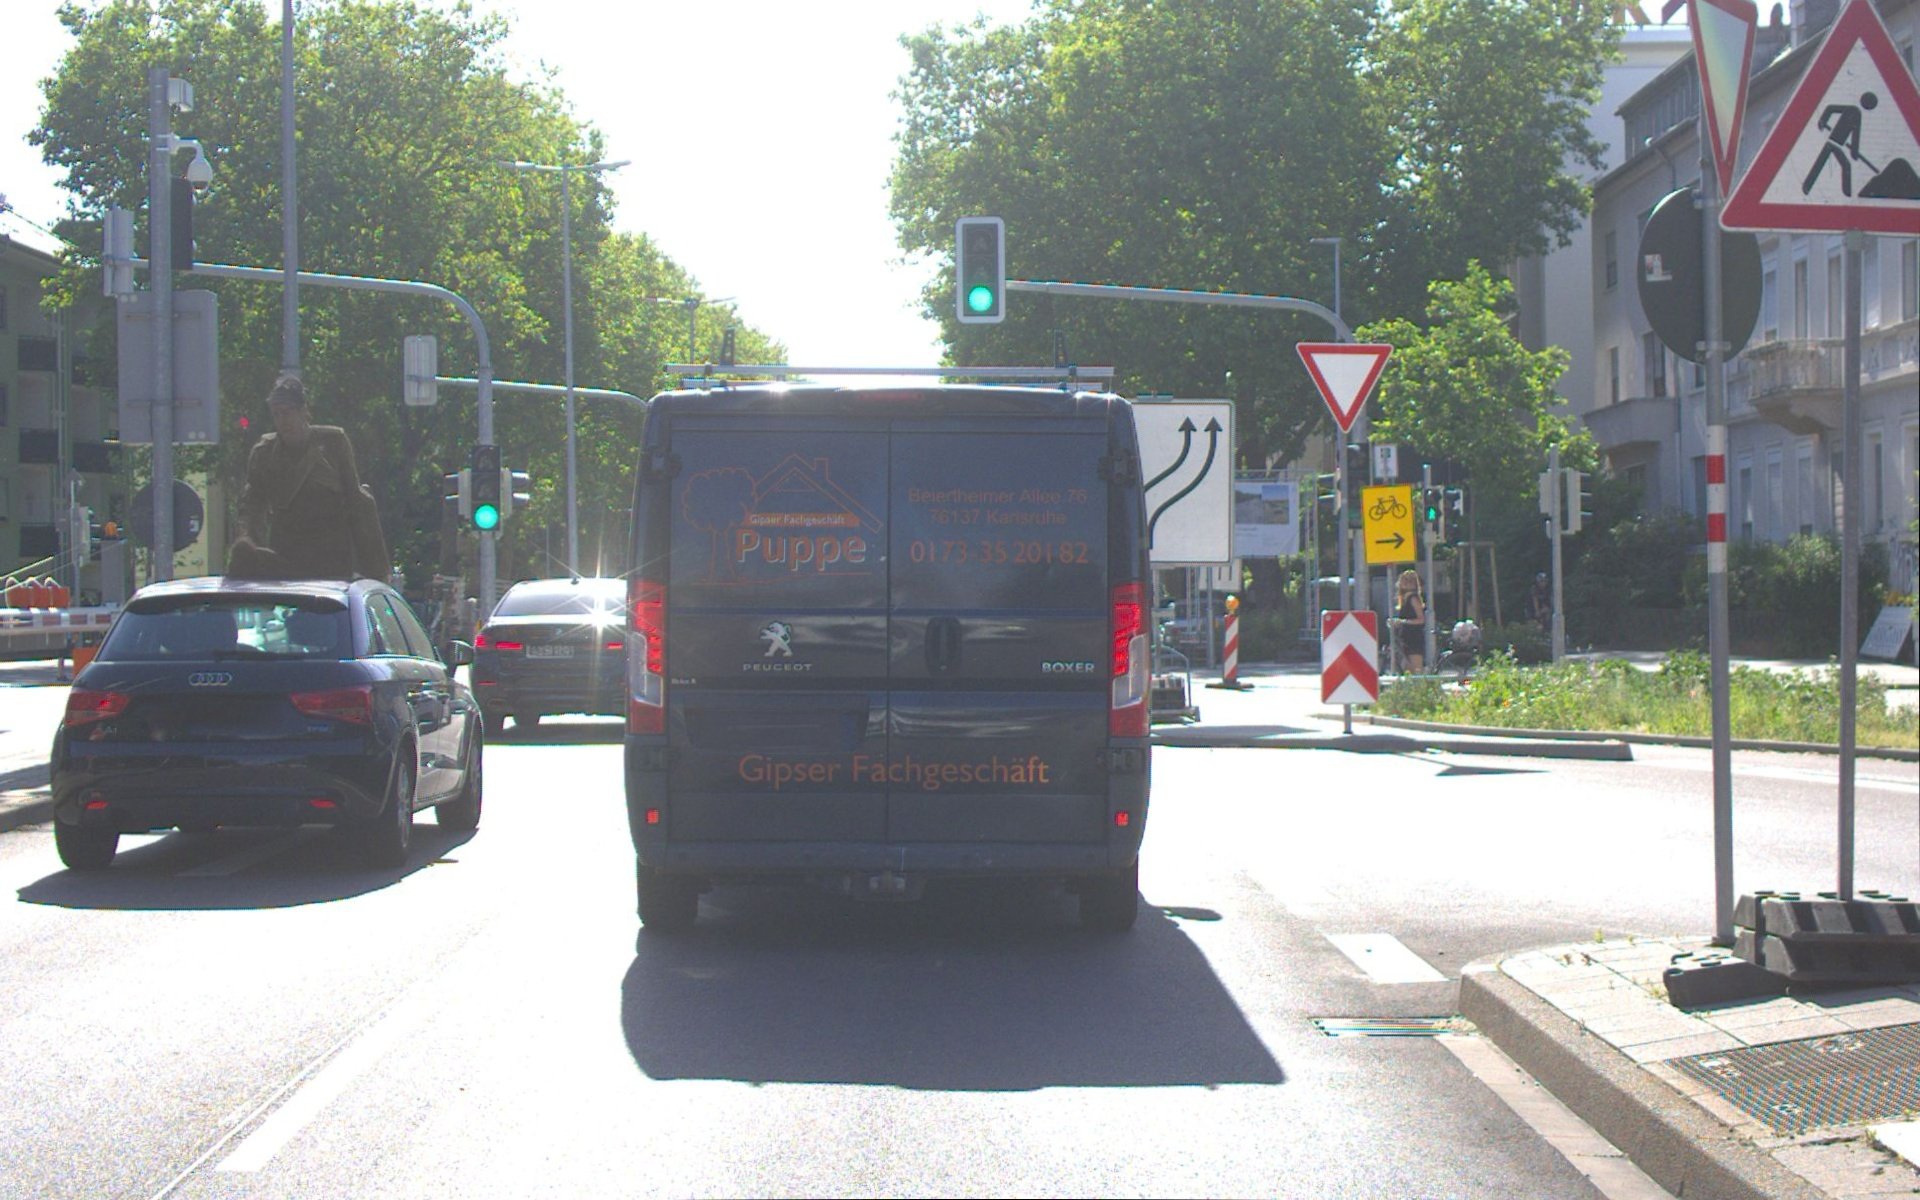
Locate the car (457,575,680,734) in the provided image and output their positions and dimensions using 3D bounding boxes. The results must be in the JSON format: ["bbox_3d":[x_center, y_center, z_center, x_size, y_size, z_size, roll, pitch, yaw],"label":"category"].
[{"bbox_3d":[-3.668,0.495,32.769,1.746,1.402,4.000,1,0,-1],"label":"car"}]

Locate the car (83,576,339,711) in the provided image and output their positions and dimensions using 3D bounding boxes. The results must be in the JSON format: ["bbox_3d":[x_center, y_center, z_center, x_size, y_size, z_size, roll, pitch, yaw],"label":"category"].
[{"bbox_3d":[-9.056,0.486,41.944,1.993,1.448,4.618,-1,1,1],"label":"car"}]

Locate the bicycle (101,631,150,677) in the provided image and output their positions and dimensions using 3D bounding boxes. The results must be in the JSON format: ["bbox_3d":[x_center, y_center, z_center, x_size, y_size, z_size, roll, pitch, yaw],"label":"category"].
[{"bbox_3d":[-19.153,1.240,78.908,0.627,1.033,1.879,0,0,1],"label":"bicycle"}]

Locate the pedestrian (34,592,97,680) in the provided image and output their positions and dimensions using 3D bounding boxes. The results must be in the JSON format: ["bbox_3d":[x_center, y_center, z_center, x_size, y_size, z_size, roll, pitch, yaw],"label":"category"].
[{"bbox_3d":[-17.436,0.701,67.029,0.865,1.705,1.012,0,0,7],"label":"pedestrian"}]

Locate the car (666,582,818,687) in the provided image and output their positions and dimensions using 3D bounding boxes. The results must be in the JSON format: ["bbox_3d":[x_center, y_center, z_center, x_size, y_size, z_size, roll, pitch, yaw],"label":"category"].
[{"bbox_3d":[-3.226,0.485,51.577,1.911,1.439,4.602,1,1,1],"label":"car"}]

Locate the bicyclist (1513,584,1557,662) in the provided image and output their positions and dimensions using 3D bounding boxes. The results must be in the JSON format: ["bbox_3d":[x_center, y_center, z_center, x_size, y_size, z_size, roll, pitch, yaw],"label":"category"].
[{"bbox_3d":[11.159,0.441,66.709,0.724,1.494,0.871,0,0,1],"label":"bicyclist"}]

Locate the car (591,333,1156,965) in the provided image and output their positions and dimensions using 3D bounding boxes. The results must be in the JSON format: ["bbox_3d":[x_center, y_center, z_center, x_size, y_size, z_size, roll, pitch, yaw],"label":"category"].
[{"bbox_3d":[-0.343,0.171,14.817,2.095,2.347,3.933,0,0,-1],"label":"car"}]

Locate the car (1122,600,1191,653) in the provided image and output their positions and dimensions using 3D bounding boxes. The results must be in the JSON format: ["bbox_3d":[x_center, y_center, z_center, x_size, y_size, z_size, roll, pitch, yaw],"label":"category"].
[{"bbox_3d":[5.680,0.762,99.828,1.763,1.503,4.251,0,0,0],"label":"car"}]

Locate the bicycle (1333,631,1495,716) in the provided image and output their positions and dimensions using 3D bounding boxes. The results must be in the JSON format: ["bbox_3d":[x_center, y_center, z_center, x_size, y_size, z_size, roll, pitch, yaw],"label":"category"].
[{"bbox_3d":[5.752,0.928,43.607,1.962,1.022,0.605,1,0,0],"label":"bicycle"}]

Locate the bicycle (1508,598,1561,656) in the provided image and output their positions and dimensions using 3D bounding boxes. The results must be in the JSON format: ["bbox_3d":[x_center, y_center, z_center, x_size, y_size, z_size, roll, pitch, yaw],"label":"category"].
[{"bbox_3d":[11.137,0.517,66.681,0.688,1.094,1.687,0,0,-1],"label":"bicycle"}]

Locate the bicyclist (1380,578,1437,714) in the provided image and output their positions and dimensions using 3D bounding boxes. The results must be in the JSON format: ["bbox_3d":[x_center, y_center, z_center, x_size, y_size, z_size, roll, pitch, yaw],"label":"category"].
[{"bbox_3d":[5.696,0.578,43.662,0.603,1.703,0.858,0,0,0],"label":"bicyclist"}]

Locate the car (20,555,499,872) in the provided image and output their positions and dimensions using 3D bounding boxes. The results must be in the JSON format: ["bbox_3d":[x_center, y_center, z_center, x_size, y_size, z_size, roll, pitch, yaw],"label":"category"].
[{"bbox_3d":[-3.498,0.498,17.852,1.746,1.402,4.000,1,1,-1],"label":"car"}]

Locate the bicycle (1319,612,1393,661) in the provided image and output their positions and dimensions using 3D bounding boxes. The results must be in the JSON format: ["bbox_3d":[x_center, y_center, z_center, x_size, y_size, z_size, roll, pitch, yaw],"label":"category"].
[{"bbox_3d":[8.281,0.755,71.854,0.588,1.002,2.127,0,0,35],"label":"bicycle"}]
